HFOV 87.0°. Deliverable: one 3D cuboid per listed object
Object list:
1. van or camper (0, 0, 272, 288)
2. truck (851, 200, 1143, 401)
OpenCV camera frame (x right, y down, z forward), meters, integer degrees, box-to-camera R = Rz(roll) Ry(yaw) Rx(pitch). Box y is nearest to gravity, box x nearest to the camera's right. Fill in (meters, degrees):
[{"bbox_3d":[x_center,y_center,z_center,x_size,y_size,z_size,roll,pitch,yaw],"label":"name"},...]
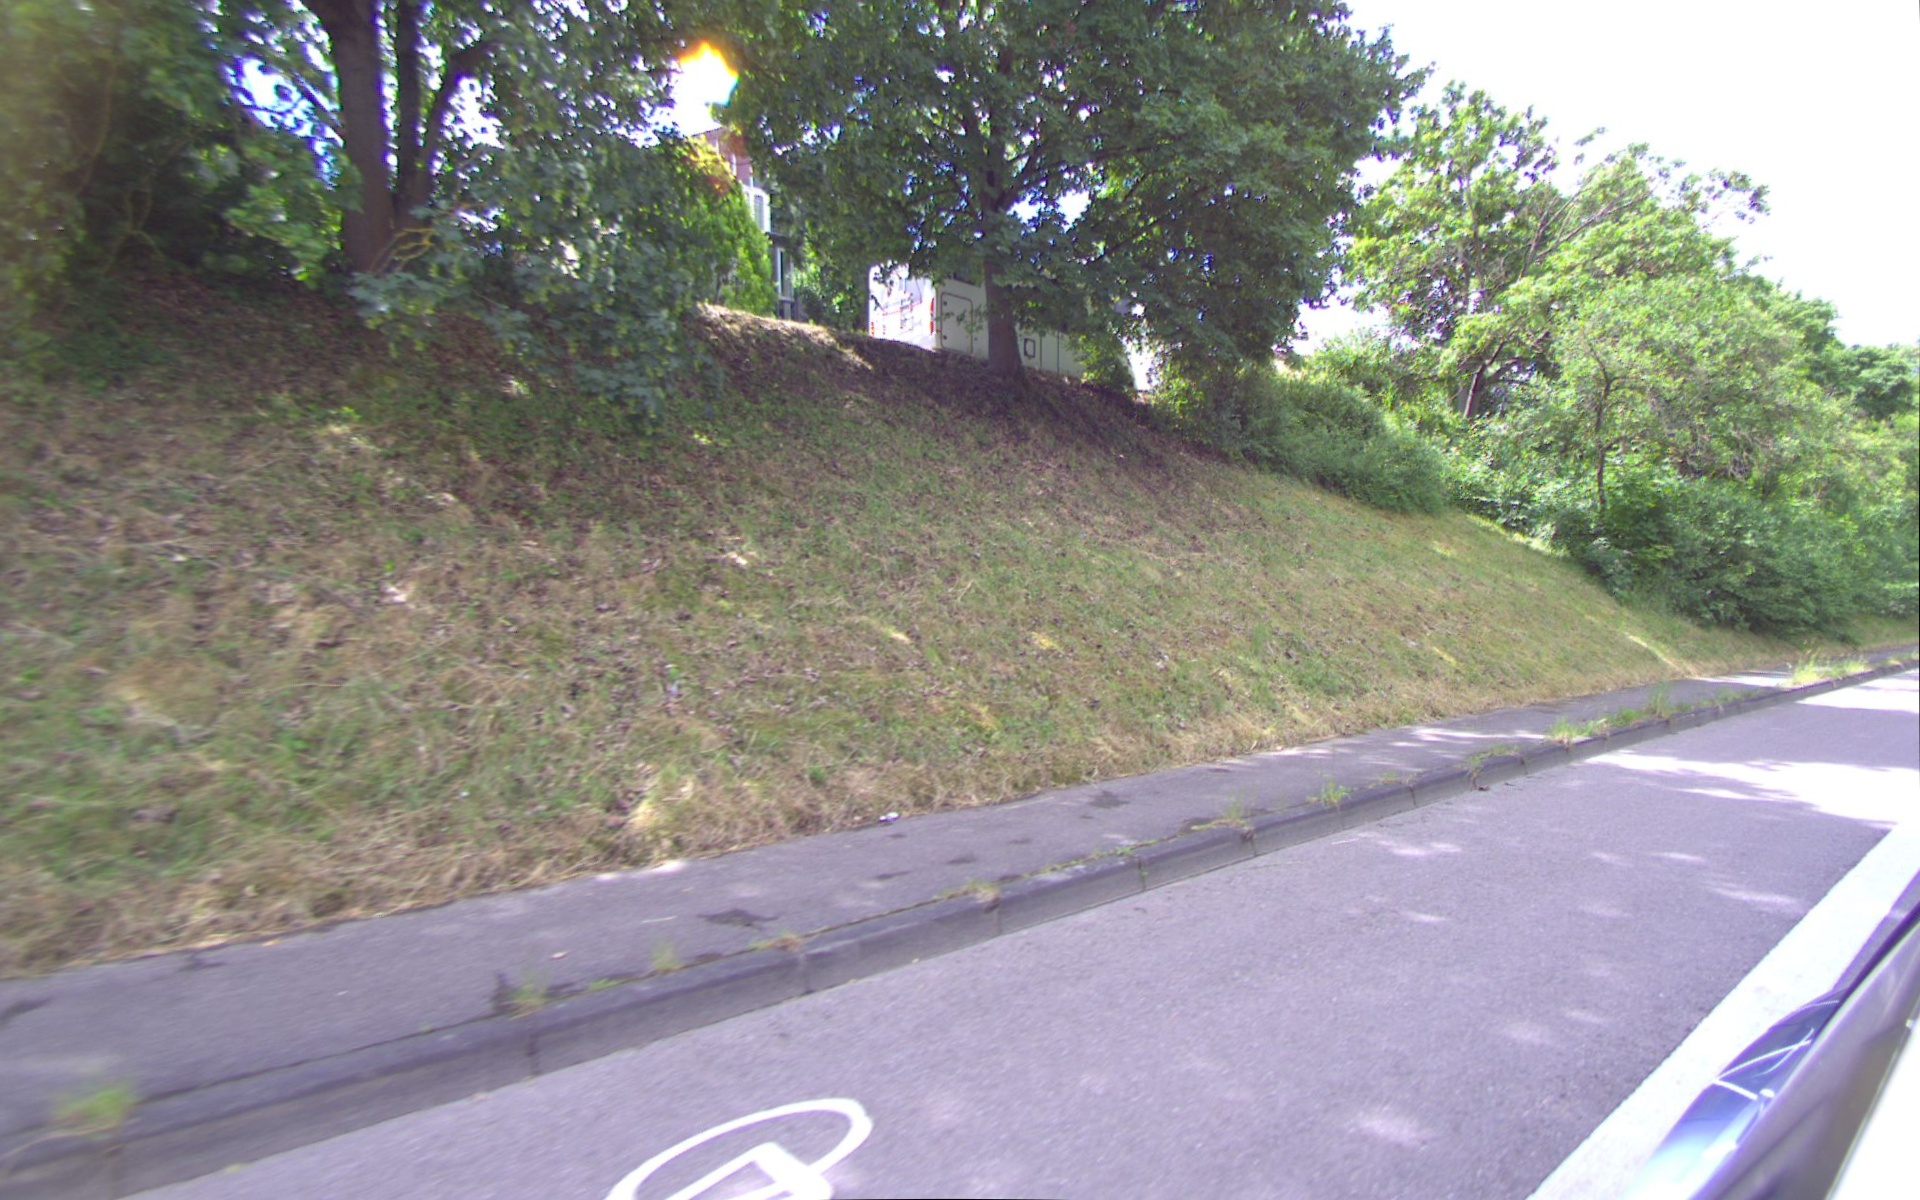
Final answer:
[{"bbox_3d":[-11.343,-5.328,11.073,6.059,2.095,2.219,0,1,-43],"label":"van or camper"},{"bbox_3d":[1.034,-6.428,22.779,6.919,2.692,2.353,0,1,-42],"label":"truck"}]
